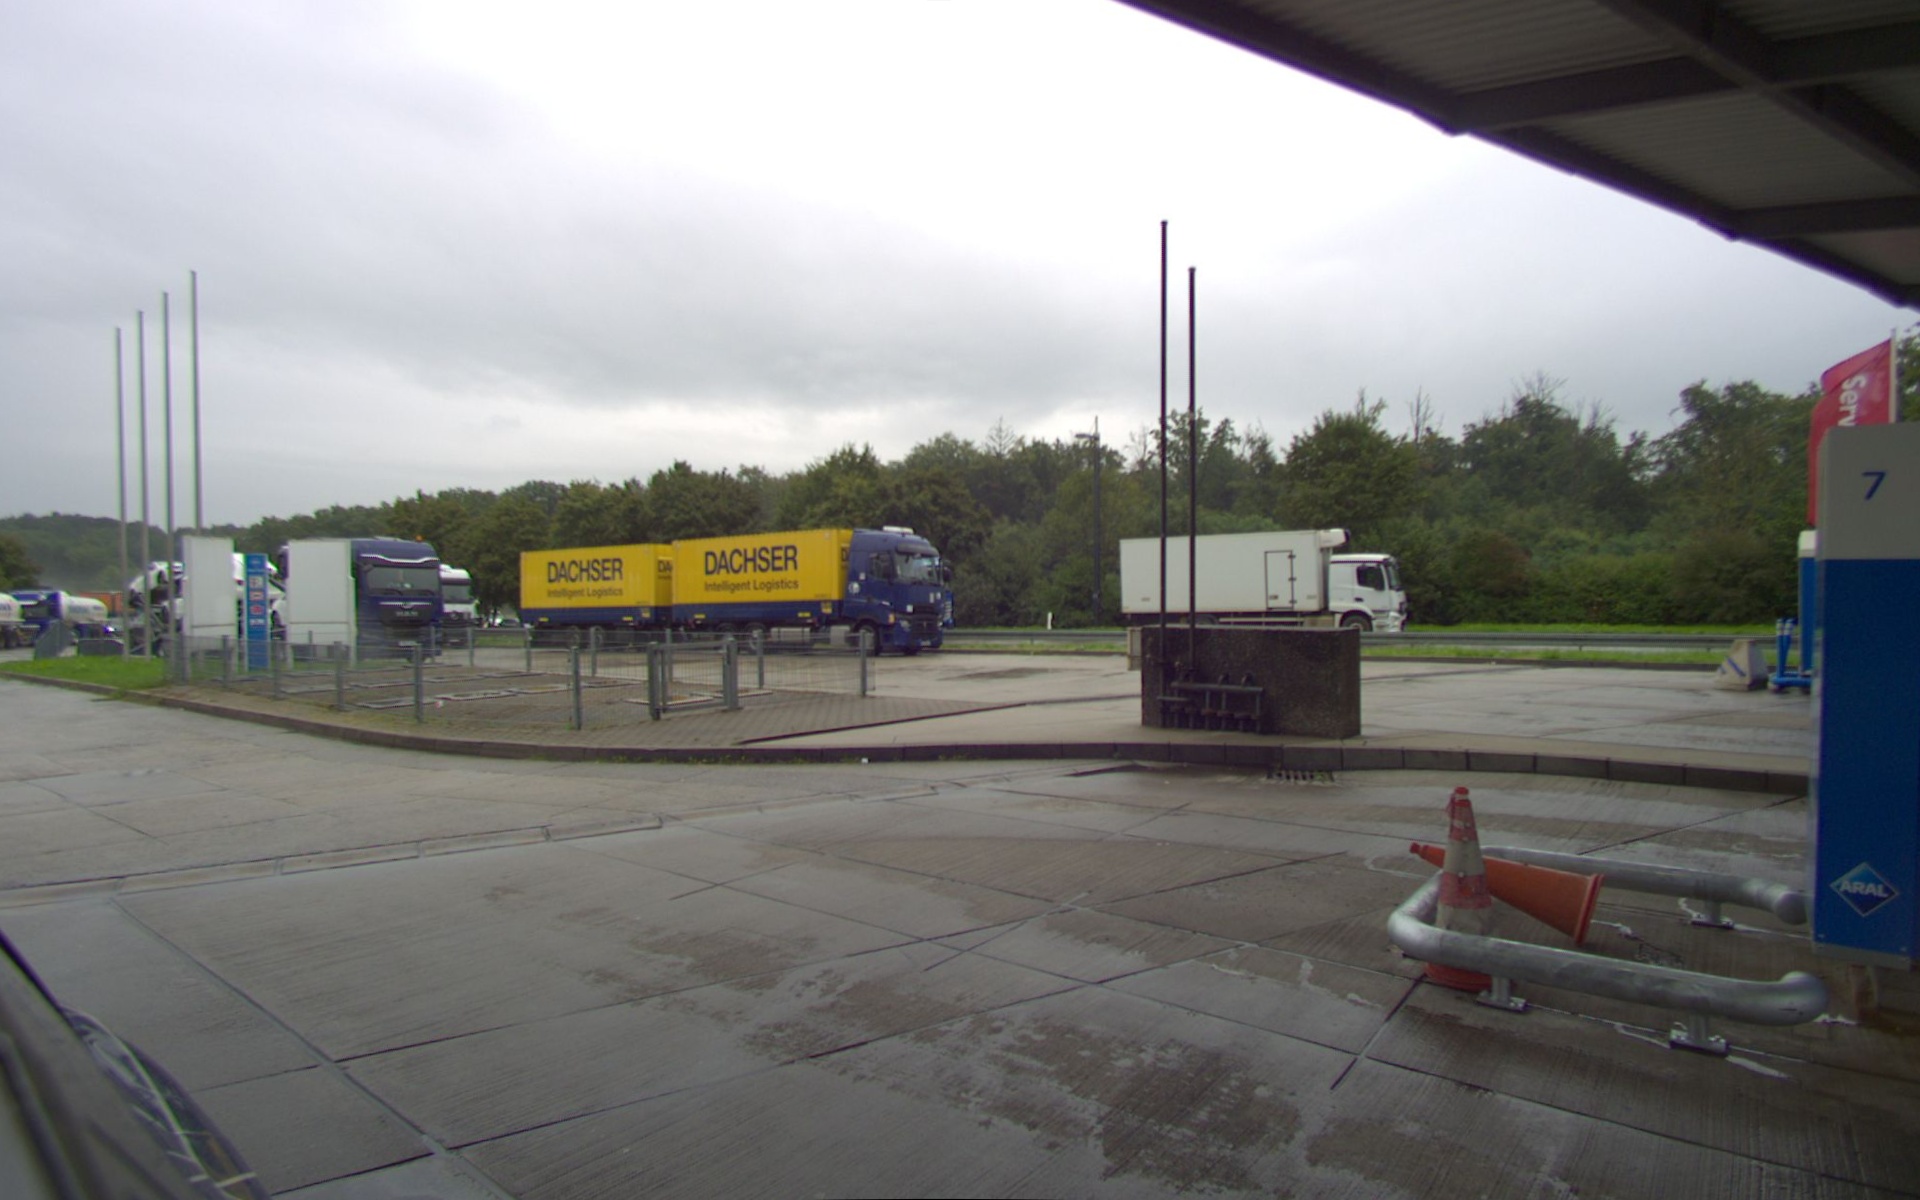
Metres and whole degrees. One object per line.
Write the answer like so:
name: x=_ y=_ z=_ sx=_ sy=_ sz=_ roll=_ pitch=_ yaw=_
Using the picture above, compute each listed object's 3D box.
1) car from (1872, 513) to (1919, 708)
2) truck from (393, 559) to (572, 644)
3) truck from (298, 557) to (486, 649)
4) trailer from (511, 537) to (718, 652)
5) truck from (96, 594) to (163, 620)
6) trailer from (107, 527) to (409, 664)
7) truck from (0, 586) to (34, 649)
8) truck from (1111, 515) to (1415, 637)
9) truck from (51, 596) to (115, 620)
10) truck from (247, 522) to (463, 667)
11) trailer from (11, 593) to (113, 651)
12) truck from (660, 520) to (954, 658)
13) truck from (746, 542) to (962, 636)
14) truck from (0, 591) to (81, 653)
car: x=14.873 y=0.109 z=12.381 sx=5.272 sy=2.482 sz=2.298 roll=-1 pitch=-2 yaw=37
truck: x=-24.783 y=0.136 z=52.274 sx=10.433 sy=4.063 sz=2.961 roll=-1 pitch=0 yaw=30
truck: x=-27.304 y=0.172 z=48.445 sx=10.433 sy=4.063 sz=2.961 roll=-1 pitch=0 yaw=30
trailer: x=-13.548 y=-0.170 z=39.288 sx=8.833 sy=4.063 sz=2.743 roll=-1 pitch=0 yaw=33
truck: x=-117.692 y=0.978 z=143.335 sx=14.626 sy=3.591 sz=3.214 roll=0 pitch=-1 yaw=34
trailer: x=-25.419 y=-0.060 z=35.923 sx=16.563 sy=4.063 sz=2.957 roll=-1 pitch=0 yaw=34
truck: x=-55.560 y=1.015 z=55.014 sx=3.196 sy=3.591 sz=12.013 roll=-1 pitch=0 yaw=-19
truck: x=11.091 y=-0.743 z=37.688 sx=10.433 sy=4.063 sz=2.961 roll=-1 pitch=0 yaw=30
truck: x=-133.510 y=1.240 z=153.931 sx=16.515 sy=3.591 sz=3.215 roll=-1 pitch=0 yaw=34
truck: x=-18.994 y=-0.117 z=31.621 sx=7.244 sy=4.063 sz=2.957 roll=-1 pitch=0 yaw=34
trailer: x=-62.273 y=1.430 z=70.479 sx=2.854 sy=3.666 sz=10.605 roll=-1 pitch=0 yaw=-28
truck: x=-5.392 y=-0.275 z=33.955 sx=10.608 sy=4.063 sz=2.743 roll=-1 pitch=0 yaw=33
truck: x=-5.143 y=-0.410 z=47.690 sx=10.433 sy=4.063 sz=2.961 roll=-1 pitch=0 yaw=30
truck: x=-59.427 y=1.367 z=64.993 sx=3.000 sy=3.795 sz=6.486 roll=-1 pitch=0 yaw=-27
